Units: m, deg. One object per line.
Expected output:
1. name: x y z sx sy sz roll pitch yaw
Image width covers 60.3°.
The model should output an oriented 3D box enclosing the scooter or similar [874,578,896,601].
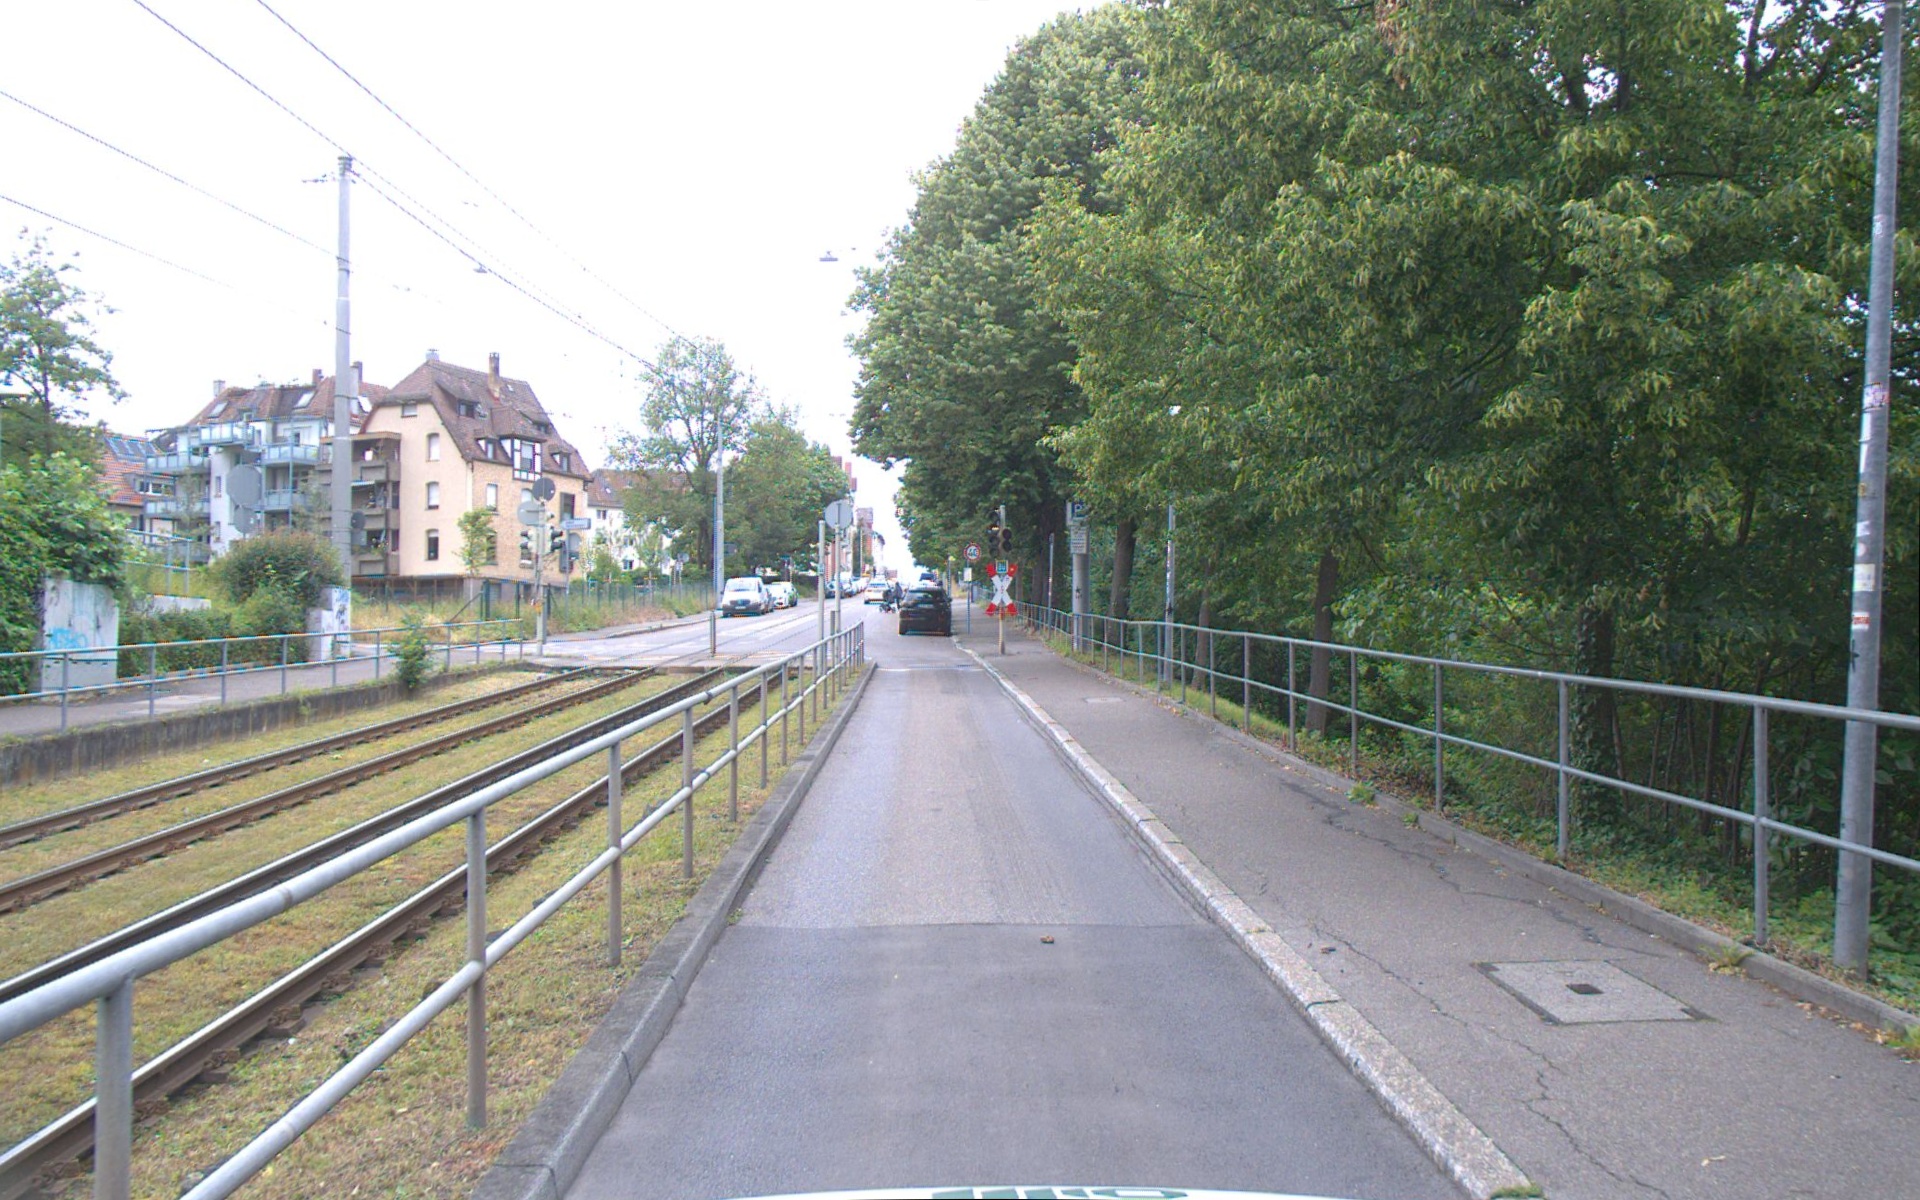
1. scooter or similar: -3.895 -0.543 85.732 0.824 1.217 0.803 0 -1 41

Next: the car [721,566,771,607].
1. car: -10.731 -0.666 83.098 1.995 1.914 4.883 -2 0 -2

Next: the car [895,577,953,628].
1. car: -1.213 0.067 57.362 1.865 1.643 4.600 1 1 0

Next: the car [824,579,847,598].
1. car: -12.310 -1.101 163.500 1.952 1.840 4.000 1 0 0

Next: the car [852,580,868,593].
1. car: -13.374 -1.766 221.807 1.885 1.629 3.999 1 0 -1

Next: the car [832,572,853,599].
1. car: -12.644 -1.575 177.985 2.186 2.812 5.796 1 0 -3

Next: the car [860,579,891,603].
1. car: -5.578 -0.572 109.721 1.953 1.525 4.311 1 0 -1

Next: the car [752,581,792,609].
1. car: -11.037 -0.320 97.266 1.847 1.552 4.662 -1 0 -1

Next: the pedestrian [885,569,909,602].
1. pedestrian: -3.252 -0.757 85.185 0.899 1.657 0.803 0 -1 41
